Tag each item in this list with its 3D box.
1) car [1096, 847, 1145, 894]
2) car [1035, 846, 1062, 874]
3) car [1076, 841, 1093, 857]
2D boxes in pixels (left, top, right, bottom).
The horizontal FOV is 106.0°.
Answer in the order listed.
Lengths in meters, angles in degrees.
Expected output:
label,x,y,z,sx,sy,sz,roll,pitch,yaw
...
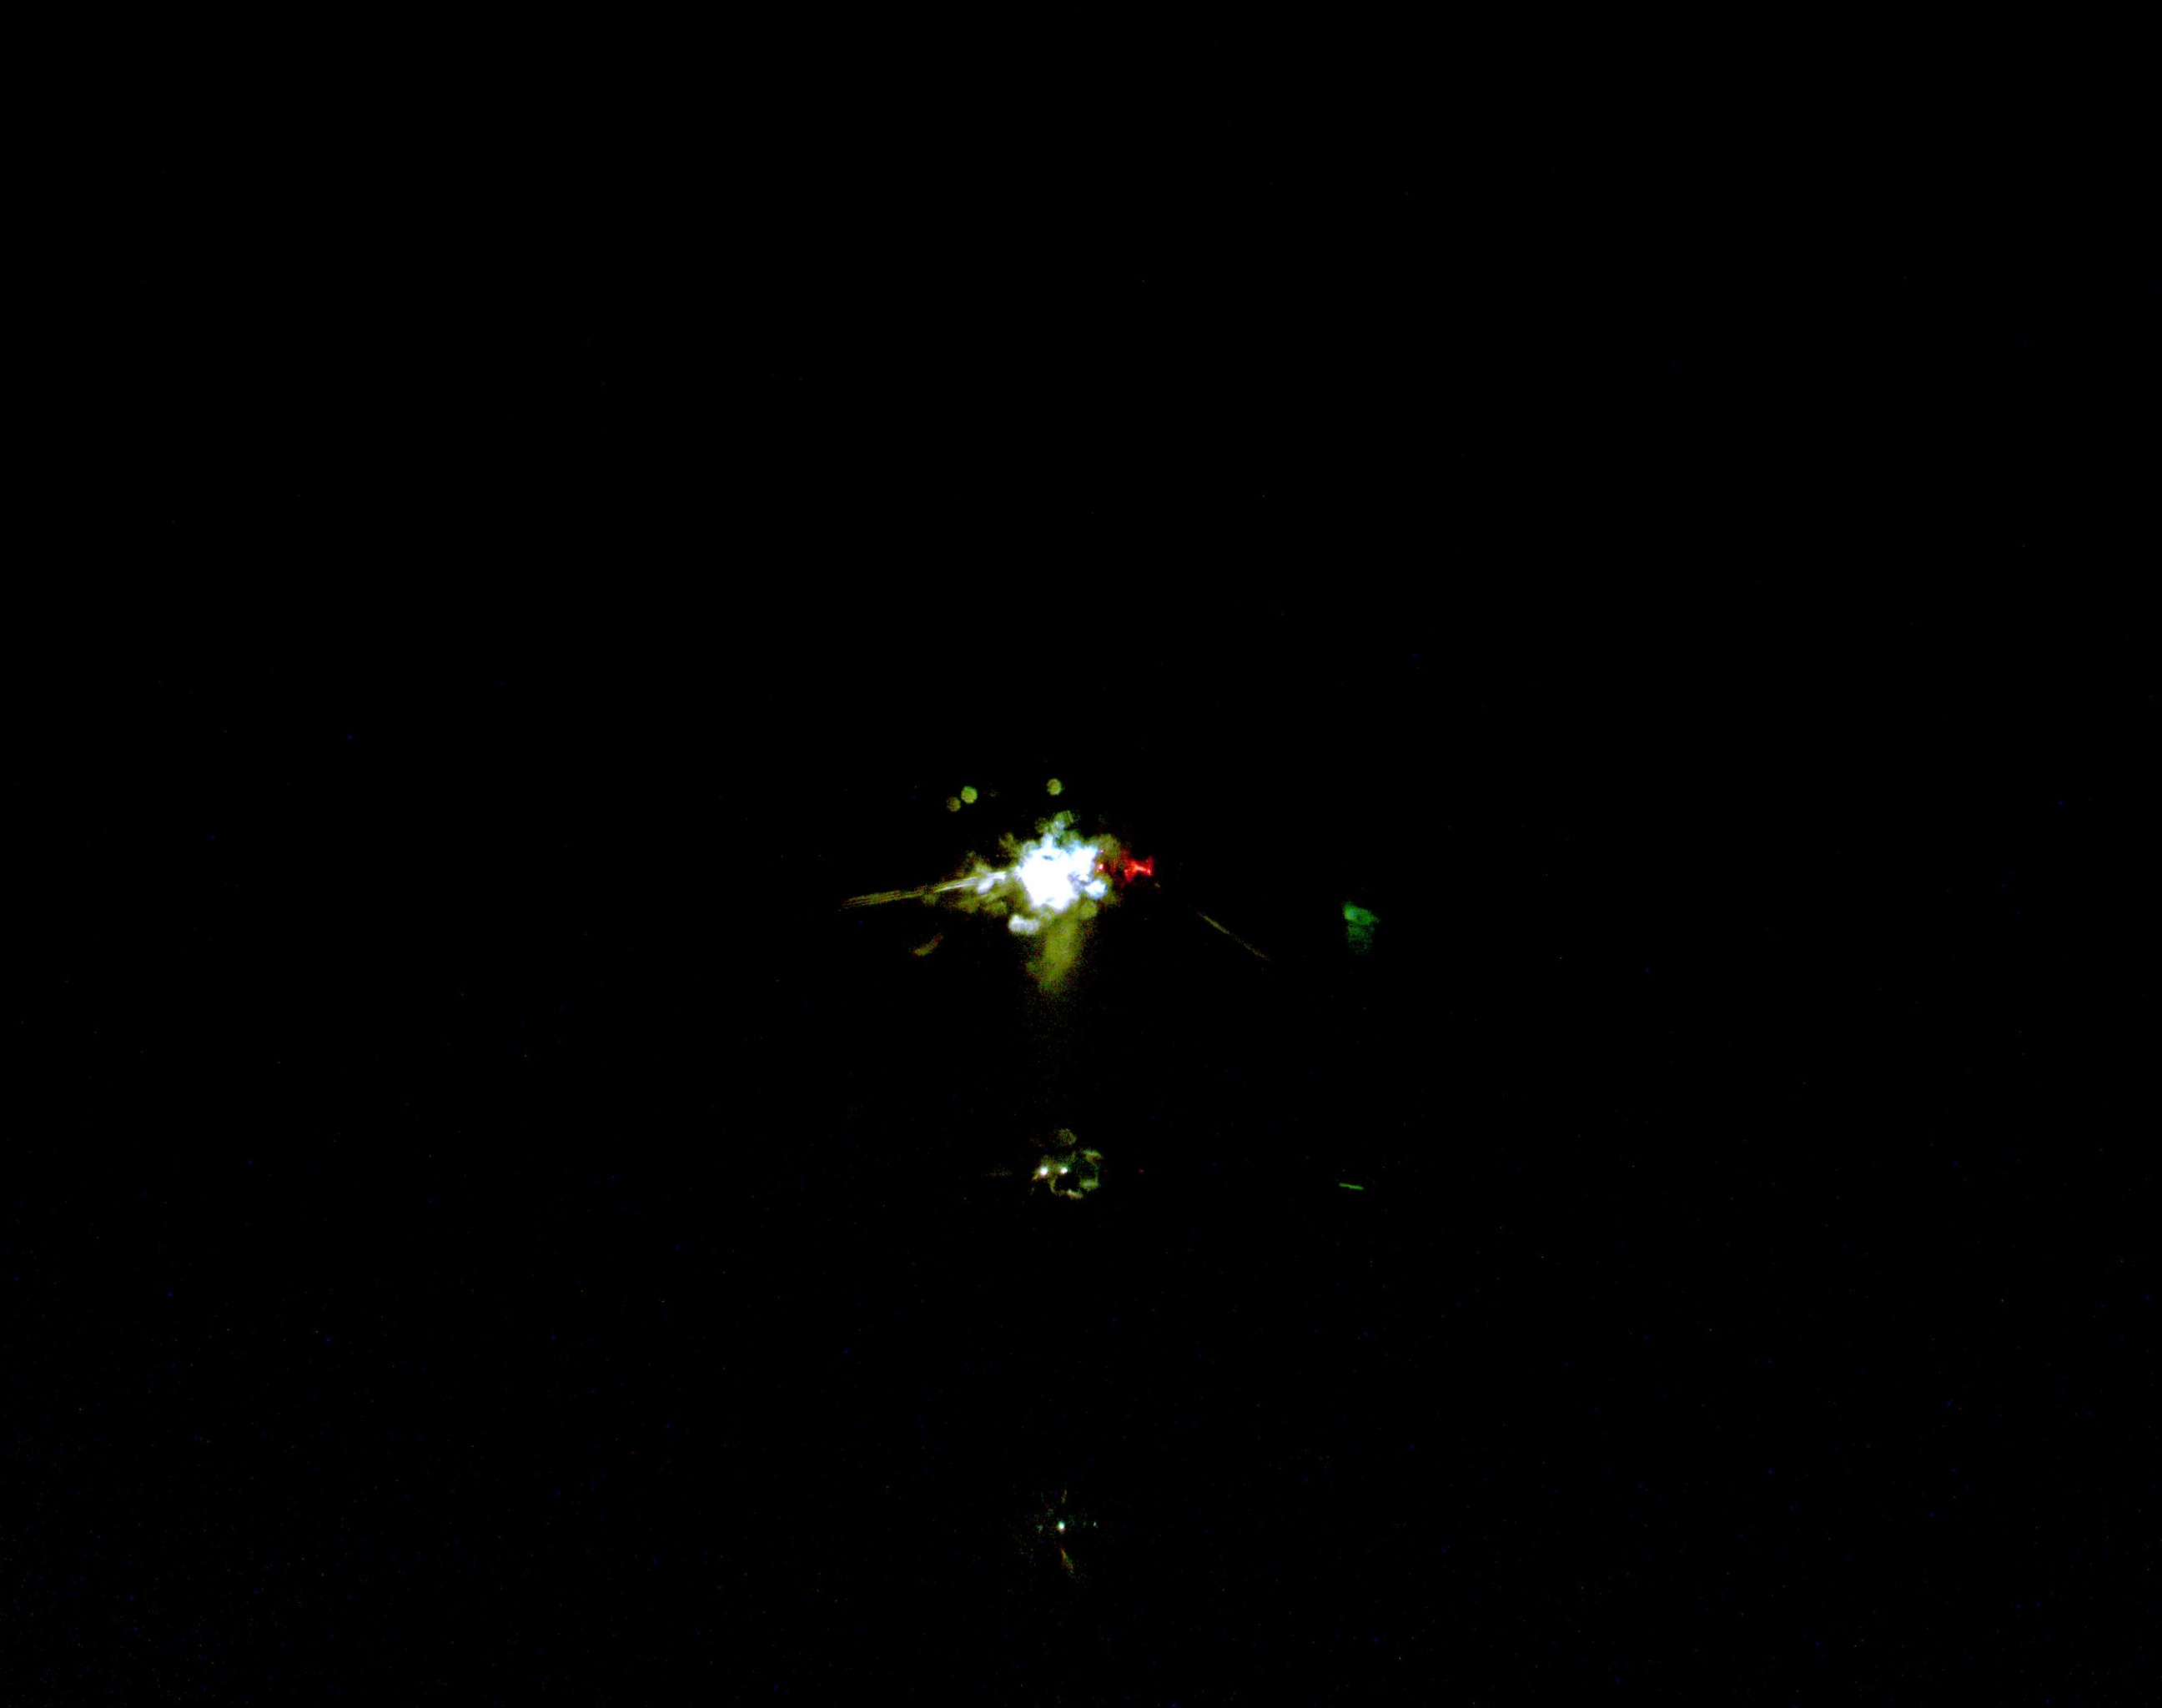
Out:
label,x,y,z,sx,sy,sz,roll,pitch,yaw
car,1.712,0.679,36.331,1.986,1.806,3.919,-2,2,1
car,-2.086,0.355,52.283,1.630,1.581,3.741,-2,2,-2
car,0.503,-0.721,105.678,1.987,1.781,4.001,-6,2,1
